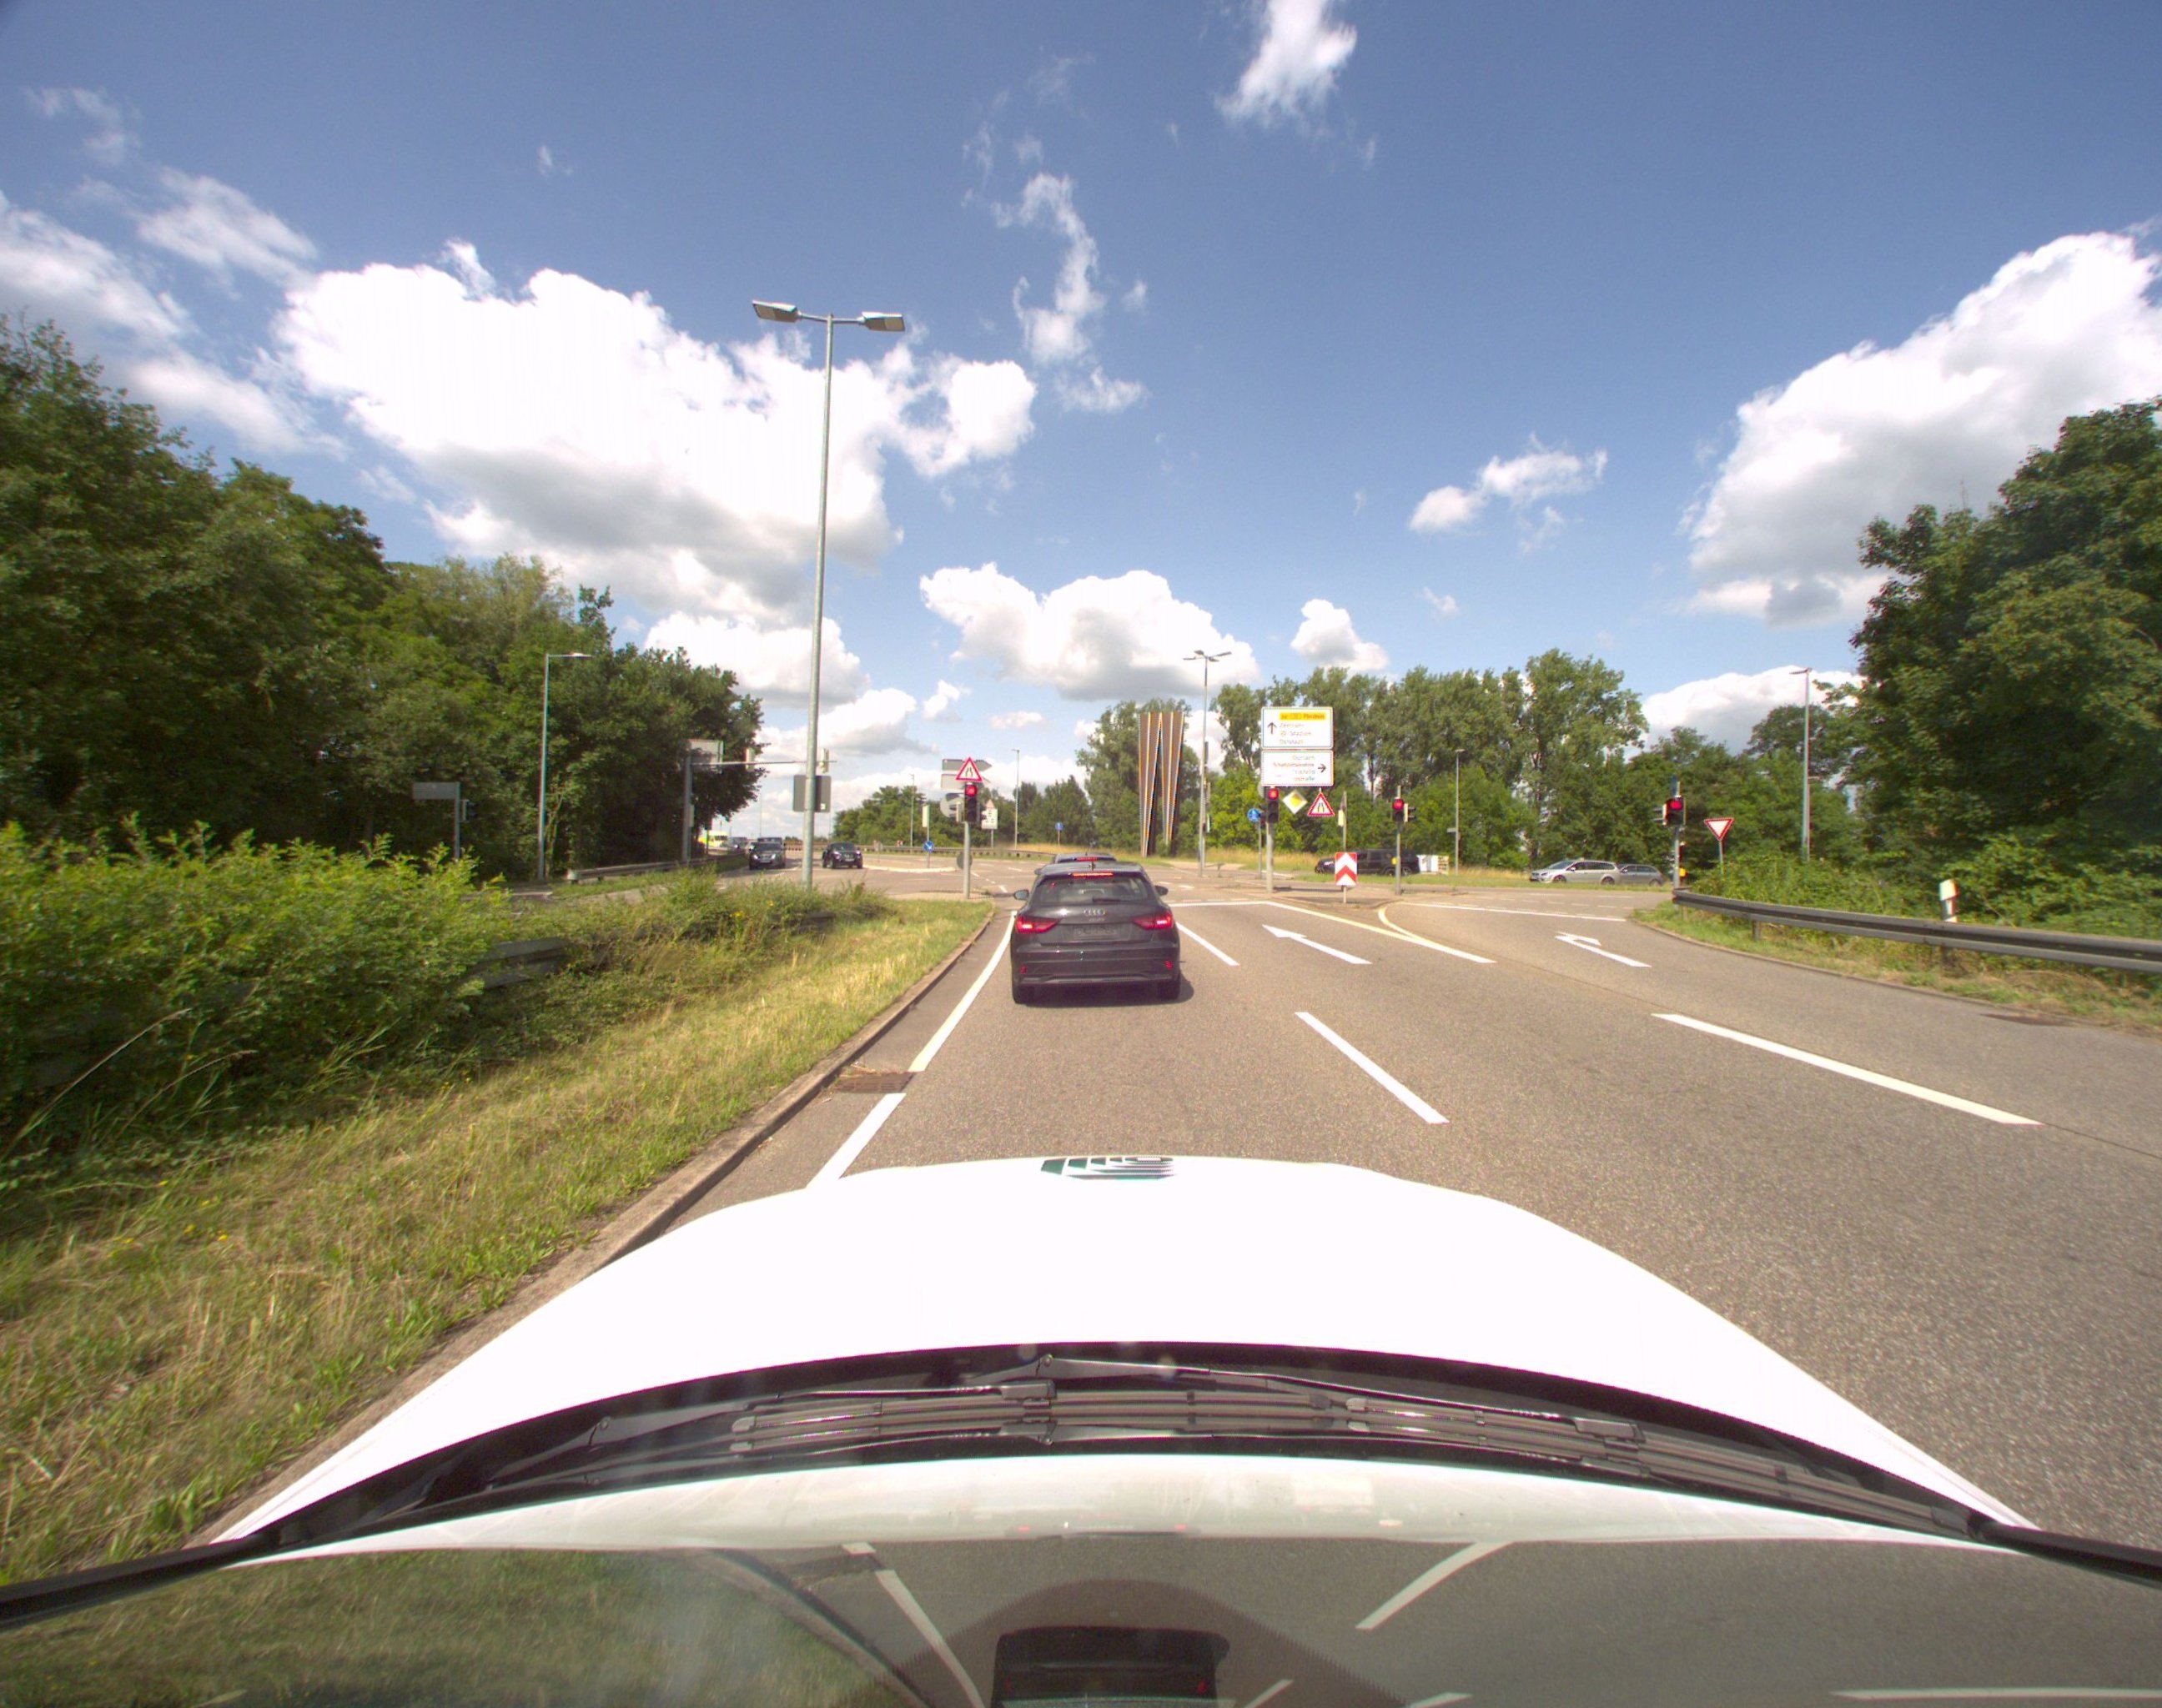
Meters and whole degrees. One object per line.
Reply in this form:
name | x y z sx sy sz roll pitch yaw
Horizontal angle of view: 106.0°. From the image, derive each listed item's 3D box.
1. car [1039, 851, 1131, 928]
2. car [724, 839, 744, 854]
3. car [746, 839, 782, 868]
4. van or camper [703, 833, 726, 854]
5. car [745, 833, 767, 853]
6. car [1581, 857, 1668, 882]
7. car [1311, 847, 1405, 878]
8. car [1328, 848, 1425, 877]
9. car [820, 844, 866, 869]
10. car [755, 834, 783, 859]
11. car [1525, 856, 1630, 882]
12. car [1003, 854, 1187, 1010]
car | -0.009 0.670 17.546 1.722 1.423 3.840 -1 0 -3
car | -39.515 -0.858 92.700 1.853 1.705 4.289 0 0 -27
car | -18.665 0.011 48.057 1.845 1.618 3.973 0 -1 -19
van or camper | -47.553 -1.322 105.552 2.006 2.683 6.797 0 0 -30
car | -33.266 -1.070 83.216 1.852 1.978 4.291 0 0 -25
car | 33.508 0.939 50.306 4.094 1.496 1.999 1 0 -2
car | 14.186 0.407 41.891 4.254 1.545 1.737 0 0 0
car | 16.536 0.464 45.746 4.831 1.545 1.737 0 0 0
car | -14.013 0.121 47.862 1.957 1.418 3.936 1 0 -26
car | -23.730 -0.575 62.063 1.849 1.802 4.298 0 0 -20
car | 25.707 0.768 42.216 4.461 1.320 1.735 0 0 -3
car | 0.177 0.739 9.730 1.720 1.404 4.001 -1 0 1
